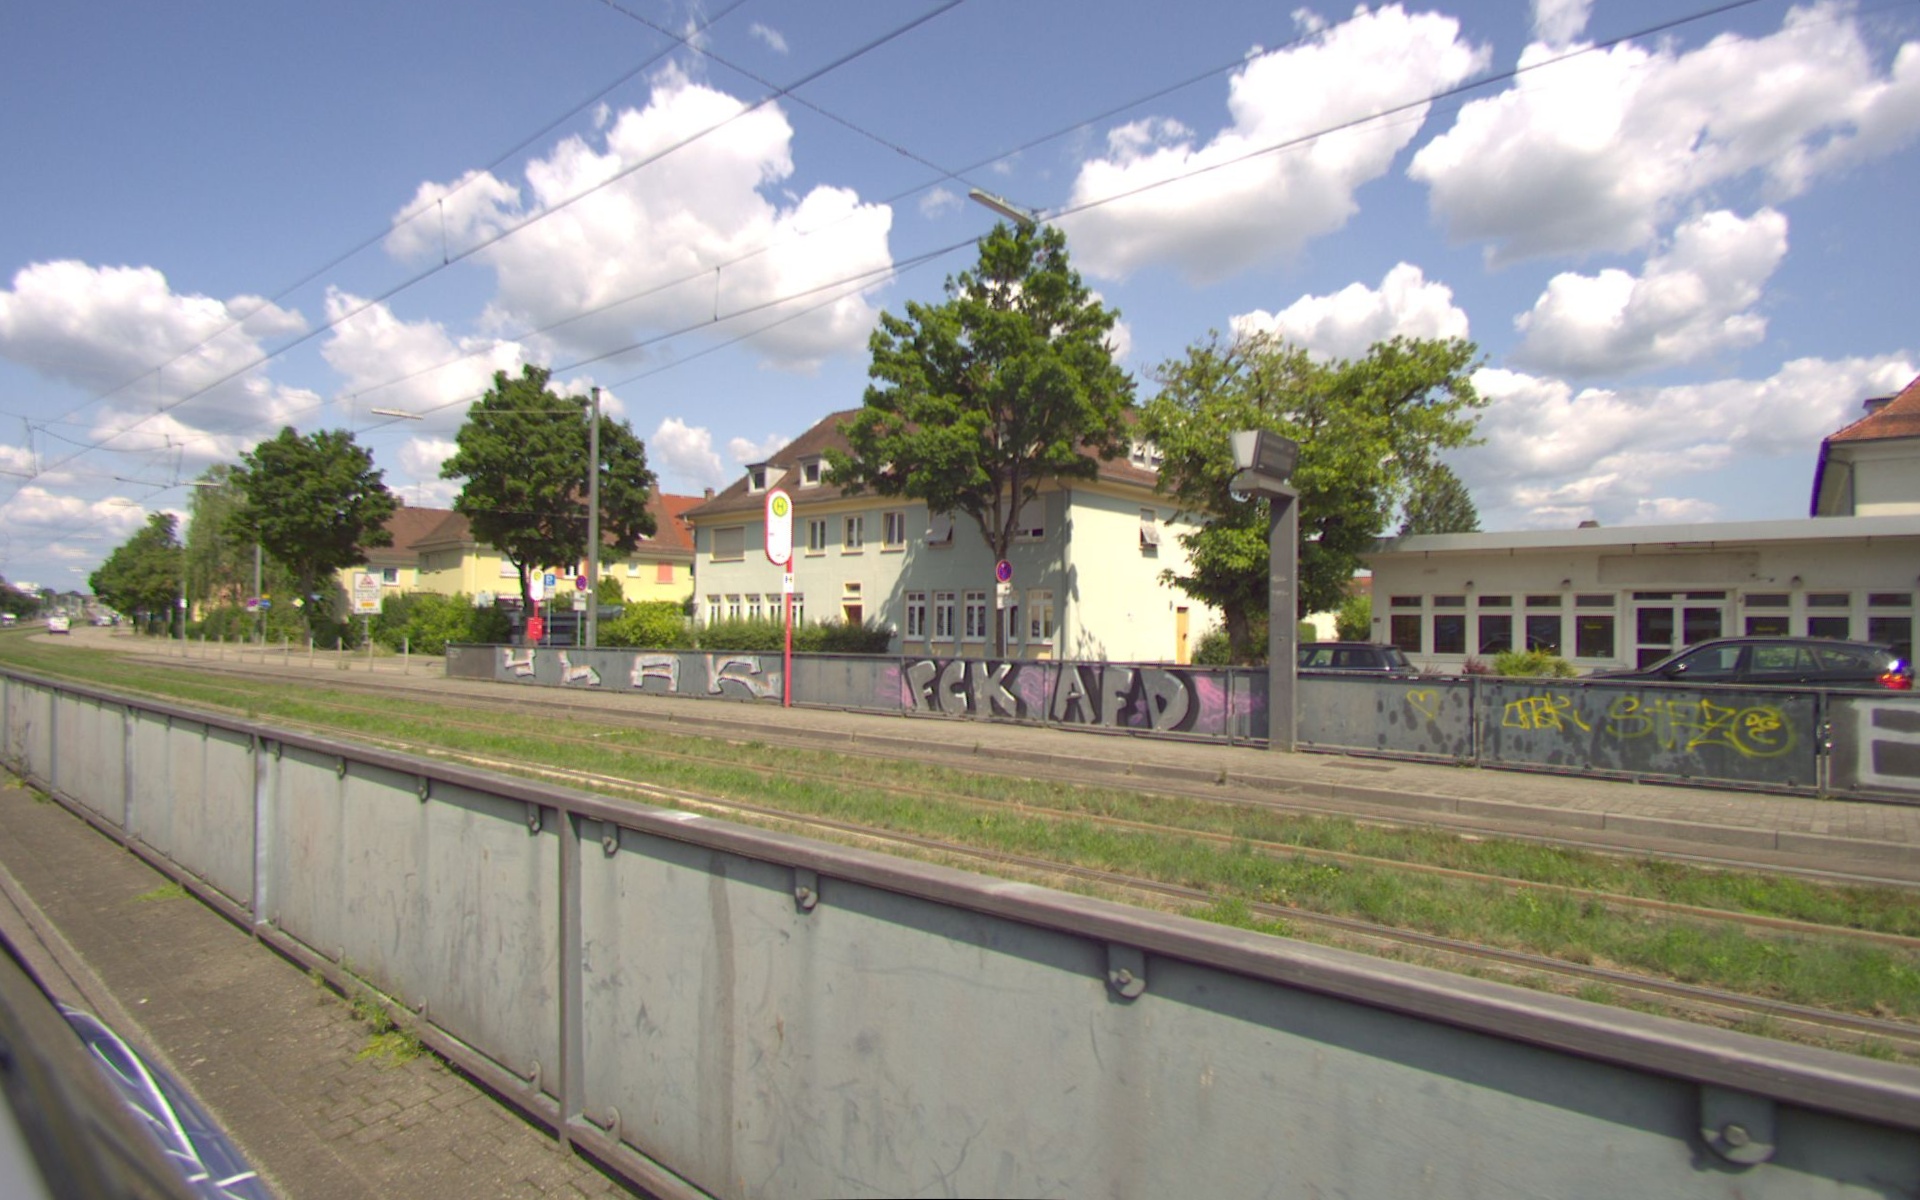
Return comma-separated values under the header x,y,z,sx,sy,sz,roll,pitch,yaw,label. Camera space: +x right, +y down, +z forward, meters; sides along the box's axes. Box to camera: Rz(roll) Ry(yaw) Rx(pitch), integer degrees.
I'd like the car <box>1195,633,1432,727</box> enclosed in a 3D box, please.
x,y,z,sx,sy,sz,roll,pitch,yaw,label
6.685,1.436,19.375,3.930,1.596,1.767,-1,-2,43,car

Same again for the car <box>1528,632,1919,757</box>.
x,y,z,sx,sy,sz,roll,pitch,yaw,label
11.454,1.316,15.366,4.742,1.626,2.042,-1,-2,35,car

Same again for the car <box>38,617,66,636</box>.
x,y,z,sx,sy,sz,roll,pitch,yaw,label
-121.251,3.558,135.077,5.331,2.390,2.173,-1,-3,42,car
